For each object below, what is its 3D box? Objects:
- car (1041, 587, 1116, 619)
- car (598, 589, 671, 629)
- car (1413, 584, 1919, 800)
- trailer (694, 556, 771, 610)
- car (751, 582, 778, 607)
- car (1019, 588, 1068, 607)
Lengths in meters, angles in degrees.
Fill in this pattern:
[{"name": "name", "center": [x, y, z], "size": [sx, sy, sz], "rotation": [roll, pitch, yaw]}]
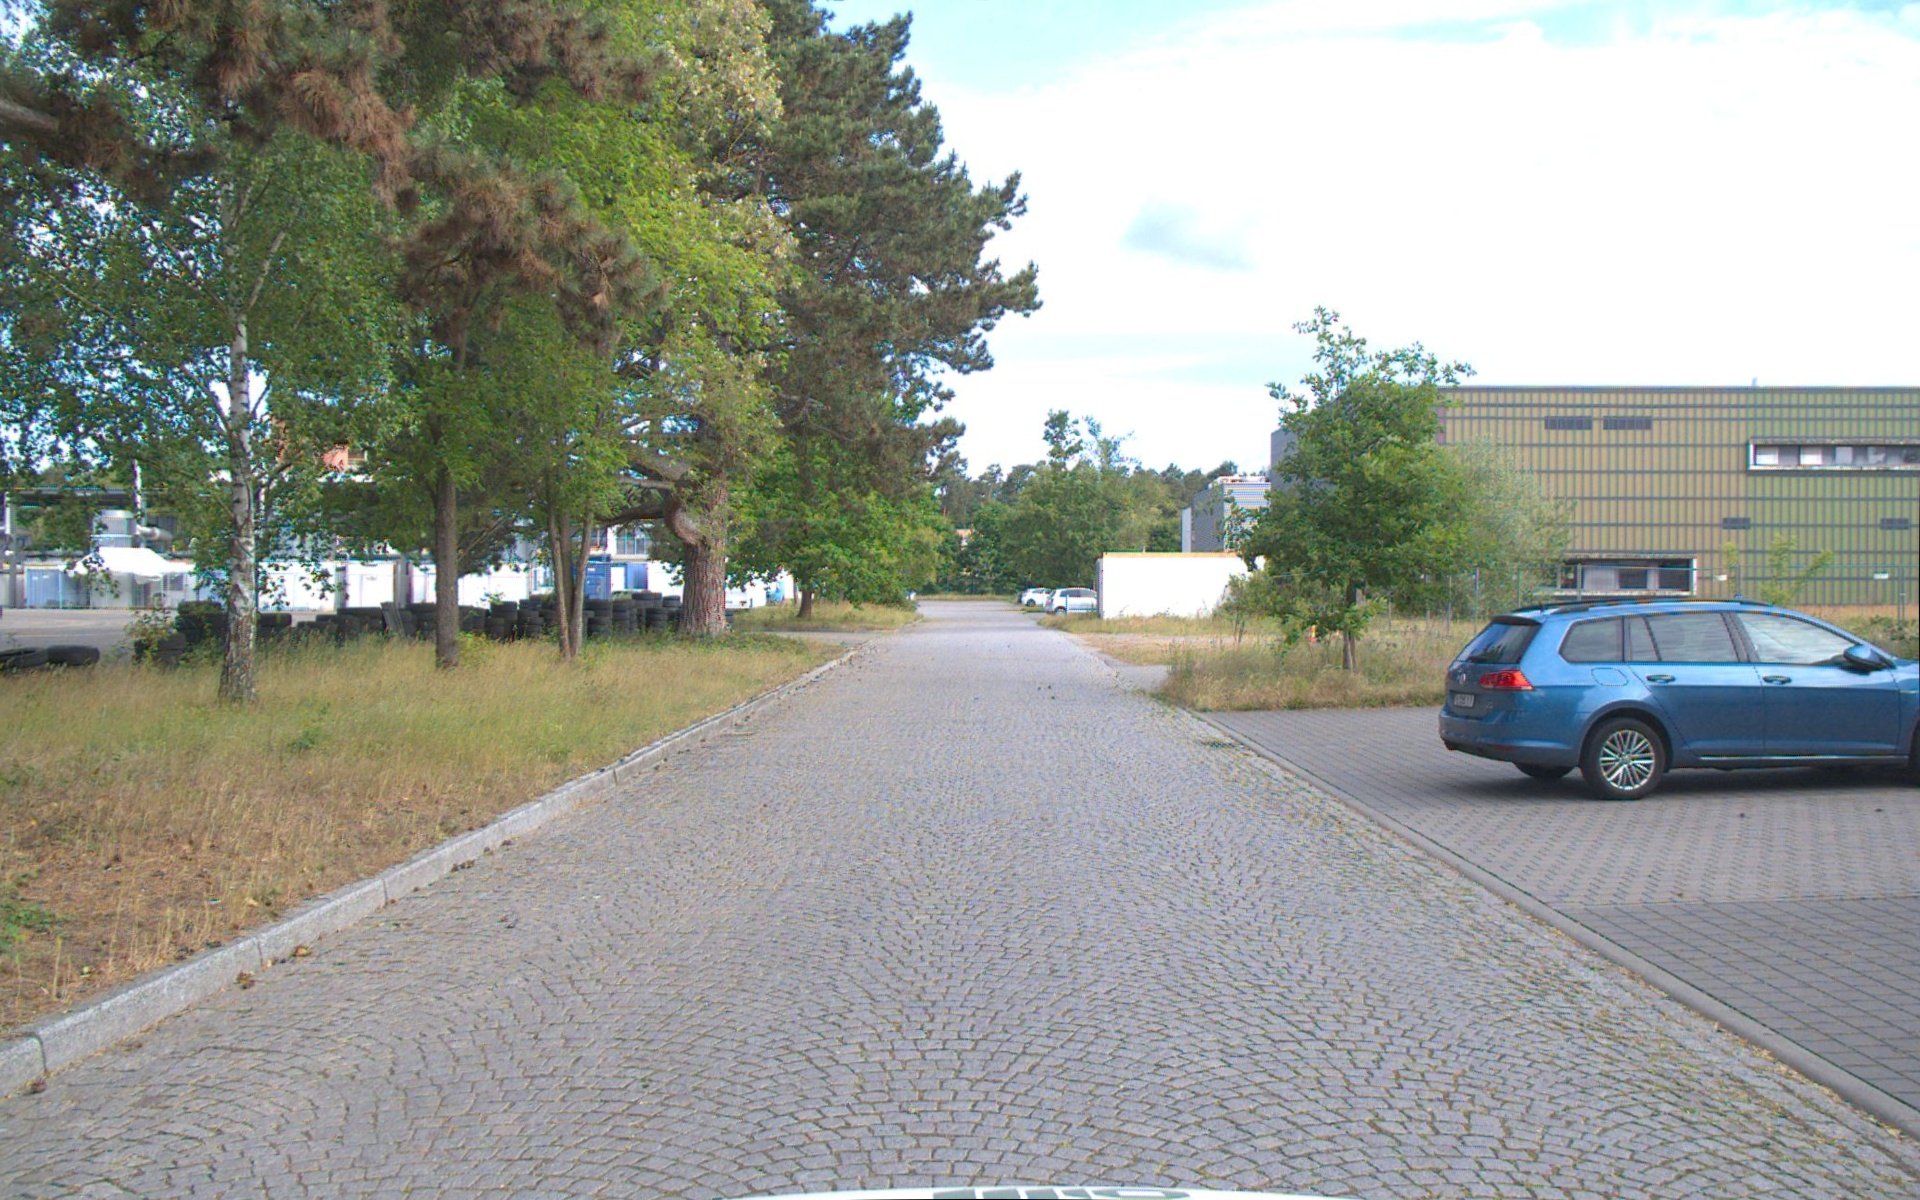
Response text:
[{"name": "car", "center": [6.216, 0.162, 86.993], "size": [3.772, 1.683, 1.685], "rotation": [0, 0, -2]}, {"name": "car", "center": [-12.230, 0.319, 62.273], "size": [1.729, 1.478, 3.491], "rotation": [0, 0, 6]}, {"name": "car", "center": [6.179, 0.680, 13.463], "size": [4.432, 1.468, 1.822], "rotation": [-2, 0, -3]}, {"name": "trailer", "center": [-13.626, -0.998, 99.729], "size": [3.093, 3.121, 8.787], "rotation": [0, 0, 2]}, {"name": "car", "center": [-16.597, -0.500, 140.413], "size": [1.886, 2.083, 4.598], "rotation": [0, 0, -2]}, {"name": "car", "center": [6.720, -0.233, 133.146], "size": [3.942, 1.528, 1.548], "rotation": [0, 0, 1]}]
